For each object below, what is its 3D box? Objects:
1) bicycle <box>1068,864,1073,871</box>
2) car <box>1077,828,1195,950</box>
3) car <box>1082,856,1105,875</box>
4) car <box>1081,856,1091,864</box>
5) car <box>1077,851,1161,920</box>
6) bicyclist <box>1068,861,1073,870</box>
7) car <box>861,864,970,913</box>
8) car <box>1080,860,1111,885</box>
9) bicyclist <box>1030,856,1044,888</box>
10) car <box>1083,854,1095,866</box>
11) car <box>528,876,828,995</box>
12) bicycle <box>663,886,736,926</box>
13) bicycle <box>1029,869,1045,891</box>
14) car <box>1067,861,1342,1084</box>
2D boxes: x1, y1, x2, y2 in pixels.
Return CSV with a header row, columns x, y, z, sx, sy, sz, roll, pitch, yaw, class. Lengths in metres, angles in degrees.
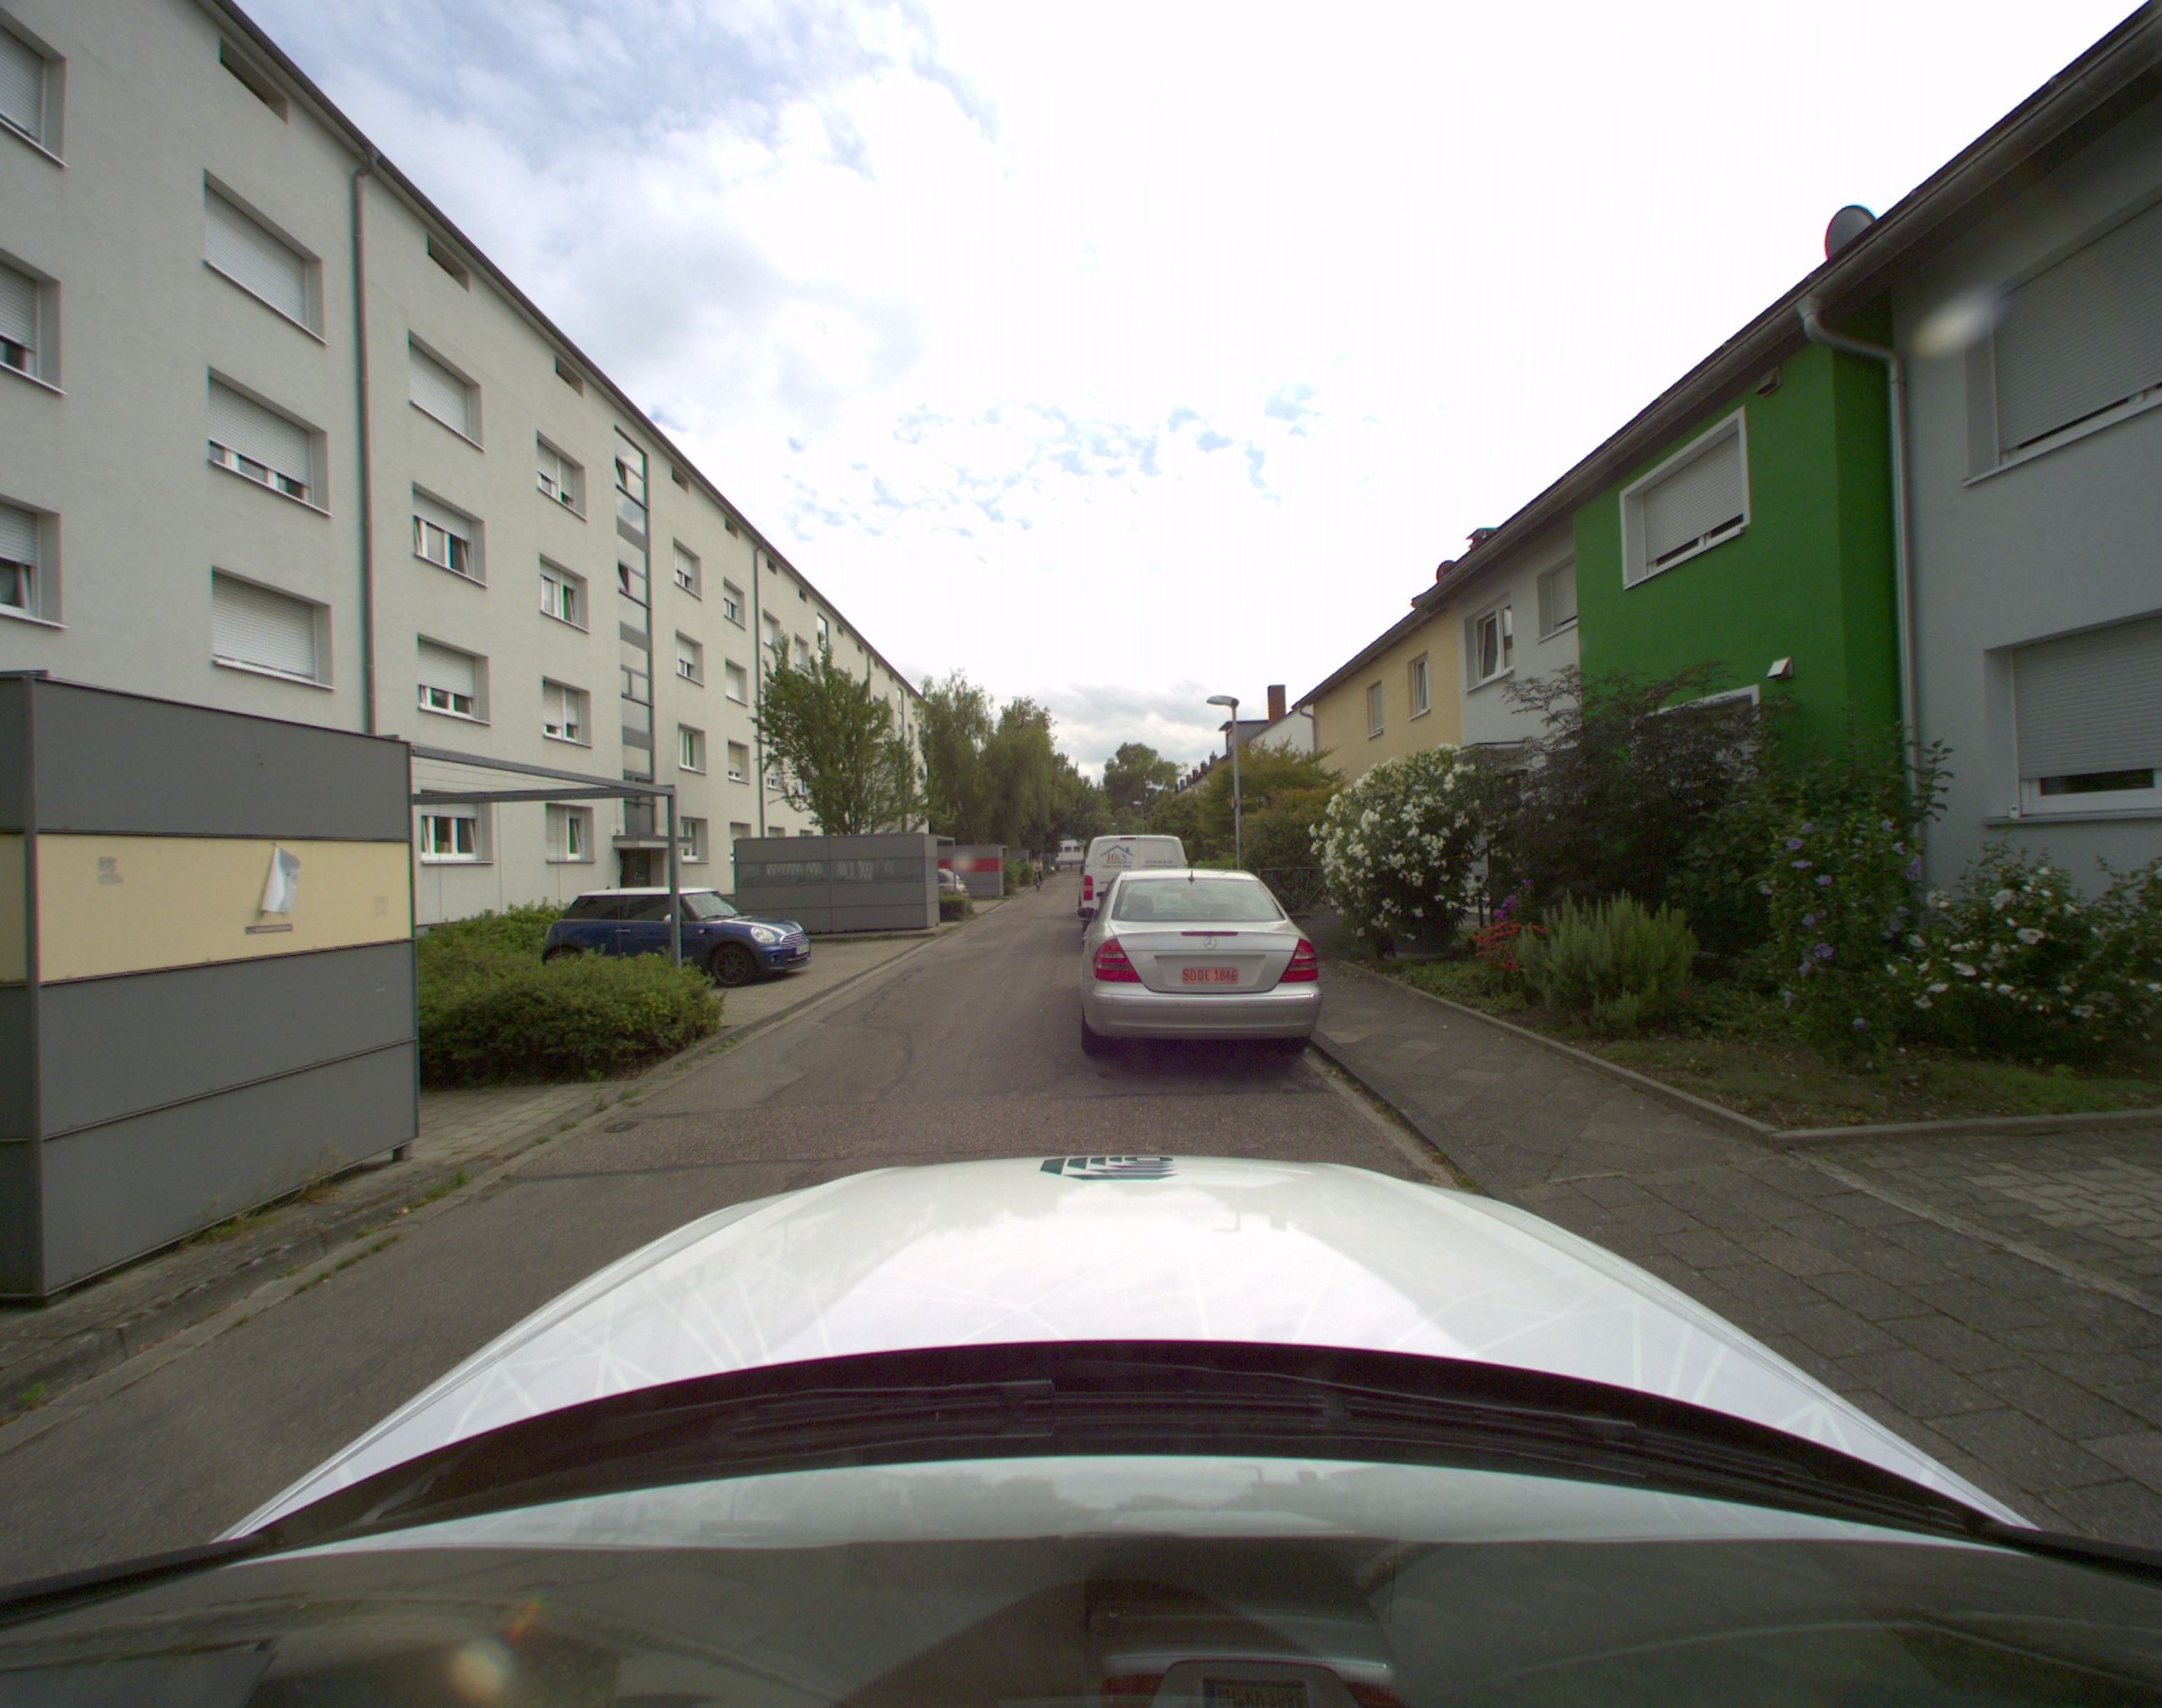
x,y,z,sx,sy,sz,roll,pitch,yaw,class
-1.648,2.147,129.656,0.686,1.131,2.580,0,-1,2,bicycle
0.885,0.591,15.914,1.898,1.964,5.252,-1,0,0,car
1.022,0.938,68.041,1.820,1.581,3.998,0,0,-1,car
1.021,1.253,165.573,1.819,1.581,4.000,0,0,1,car
0.902,0.764,21.593,1.820,1.635,4.157,-1,0,-3,car
-1.654,1.823,129.676,0.795,1.511,0.934,0,-1,2,bicyclist
-5.847,1.219,29.109,3.555,1.480,1.708,-3,0,-5,car
0.875,1.079,49.110,1.819,1.370,4.331,0,0,1,car
-2.295,0.930,42.444,0.595,1.581,0.767,-3,-1,1,bicyclist
1.279,0.920,124.579,1.819,1.883,4.000,0,0,1,car
-5.930,1.176,12.254,3.619,1.461,1.654,-3,-1,3,car
-11.053,1.486,23.642,1.820,1.024,0.473,-2,0,-41,bicycle
-2.273,1.348,42.291,0.595,1.076,2.043,-3,0,2,bicycle
0.875,0.795,7.549,1.777,1.421,4.457,-1,0,2,car
